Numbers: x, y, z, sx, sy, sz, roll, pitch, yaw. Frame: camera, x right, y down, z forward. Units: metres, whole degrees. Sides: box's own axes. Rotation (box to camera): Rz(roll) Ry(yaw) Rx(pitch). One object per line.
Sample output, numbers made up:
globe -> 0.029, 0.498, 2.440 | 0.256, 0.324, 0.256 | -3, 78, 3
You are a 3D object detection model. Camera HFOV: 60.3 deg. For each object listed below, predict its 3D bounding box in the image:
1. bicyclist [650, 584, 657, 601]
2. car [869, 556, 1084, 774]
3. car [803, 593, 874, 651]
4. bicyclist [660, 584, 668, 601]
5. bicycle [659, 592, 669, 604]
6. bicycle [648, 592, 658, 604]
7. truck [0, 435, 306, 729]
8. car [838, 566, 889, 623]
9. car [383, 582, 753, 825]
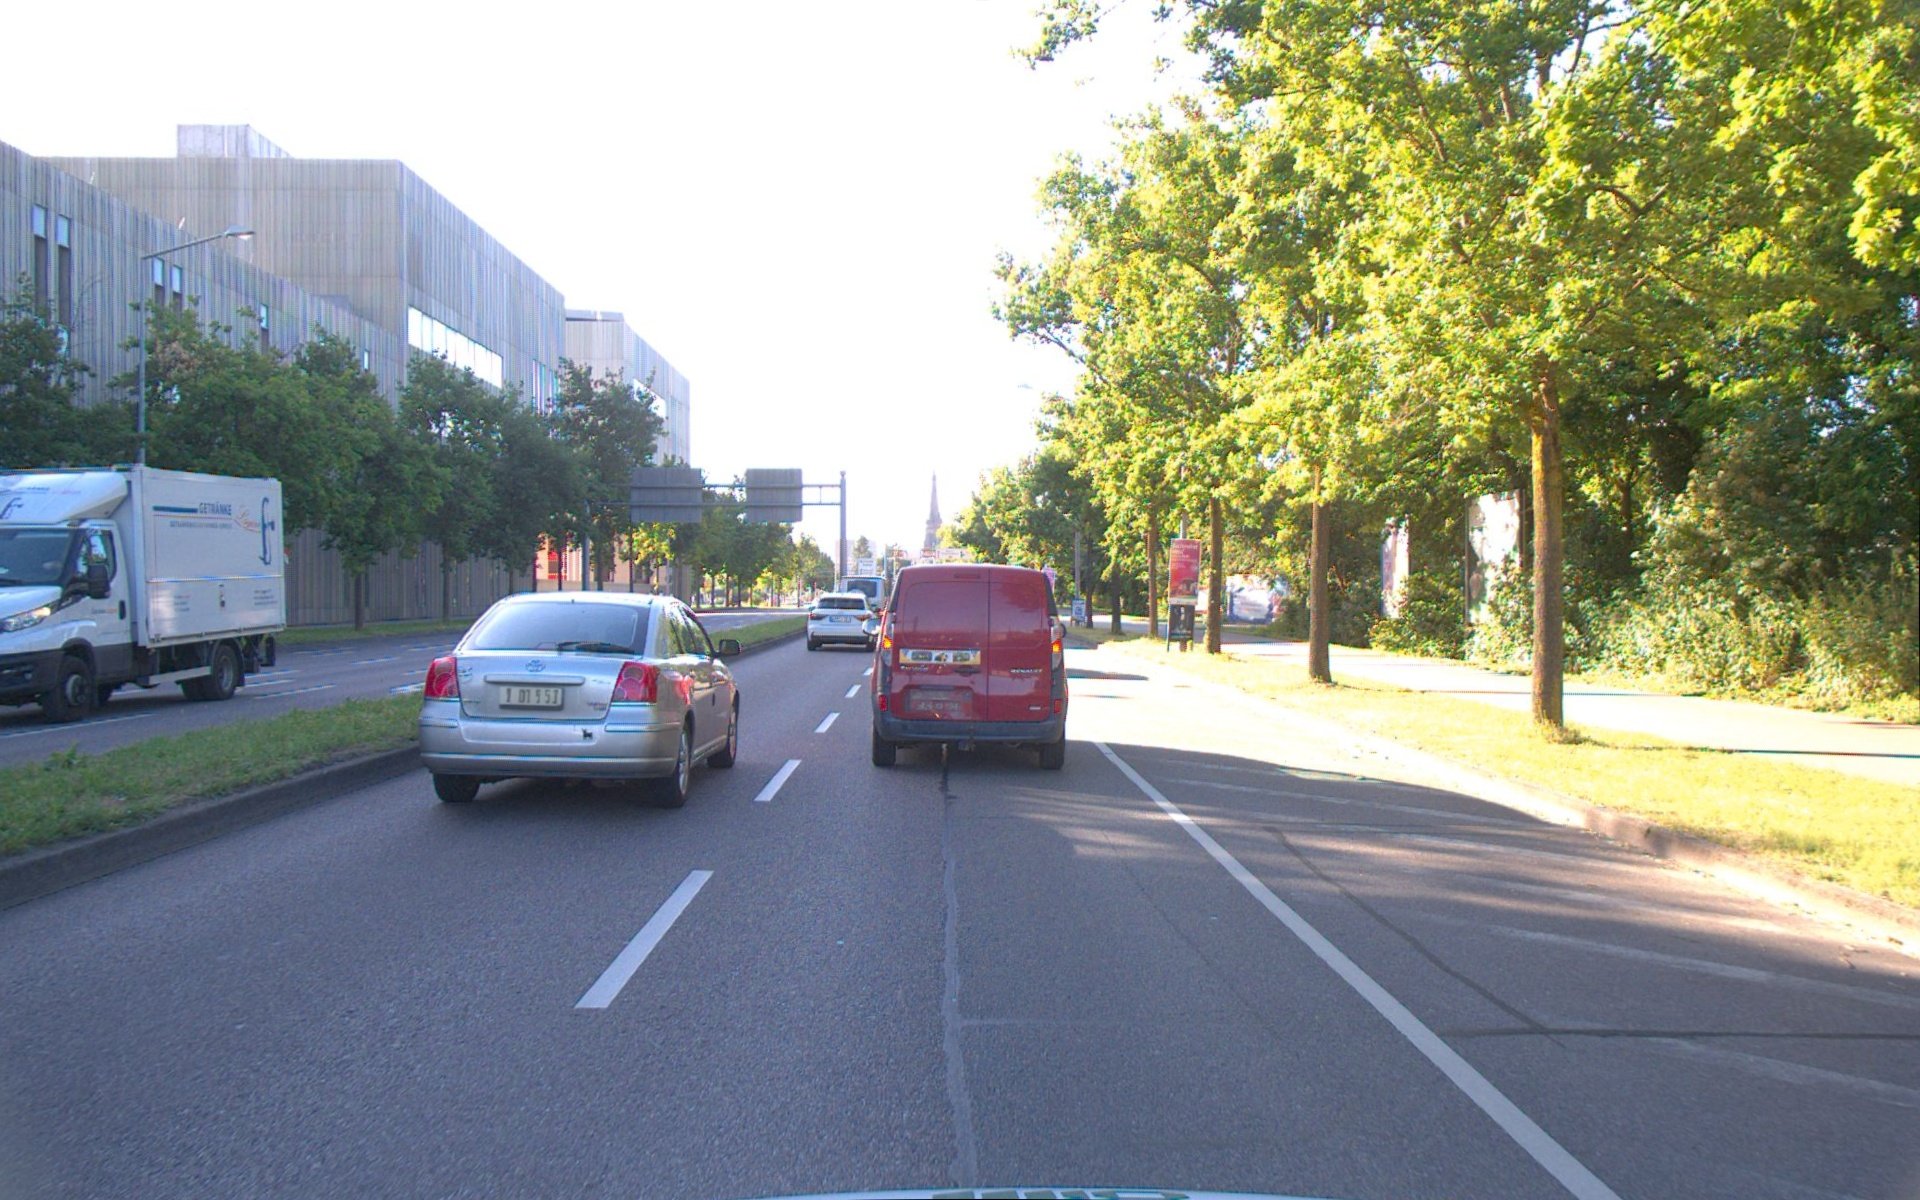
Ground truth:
bicyclist -> -26.624, -0.652, 143.496 | 0.472, 1.419, 0.844 | 0, -1, -2
car -> 0.100, 0.547, 15.945 | 1.769, 1.790, 4.005 | 1, 0, -1
car -> -3.088, 0.538, 42.539 | 1.628, 1.422, 3.558 | 0, 0, -1
bicyclist -> -25.706, -0.667, 143.464 | 0.551, 1.417, 0.747 | 0, -1, -2
bicycle -> -25.707, -0.180, 143.594 | 0.558, 1.021, 2.095 | 0, -1, -2
bicycle -> -26.622, -0.194, 143.449 | 0.477, 1.021, 2.095 | 0, -1, -2
truck -> -10.875, -0.156, 20.552 | 2.631, 3.012, 7.113 | -2, 0, 0
car -> -3.298, -0.187, 56.987 | 1.628, 1.889, 3.558 | 0, 0, -1
car -> -2.725, 0.655, 12.494 | 1.803, 1.482, 4.161 | 2, 0, -1
